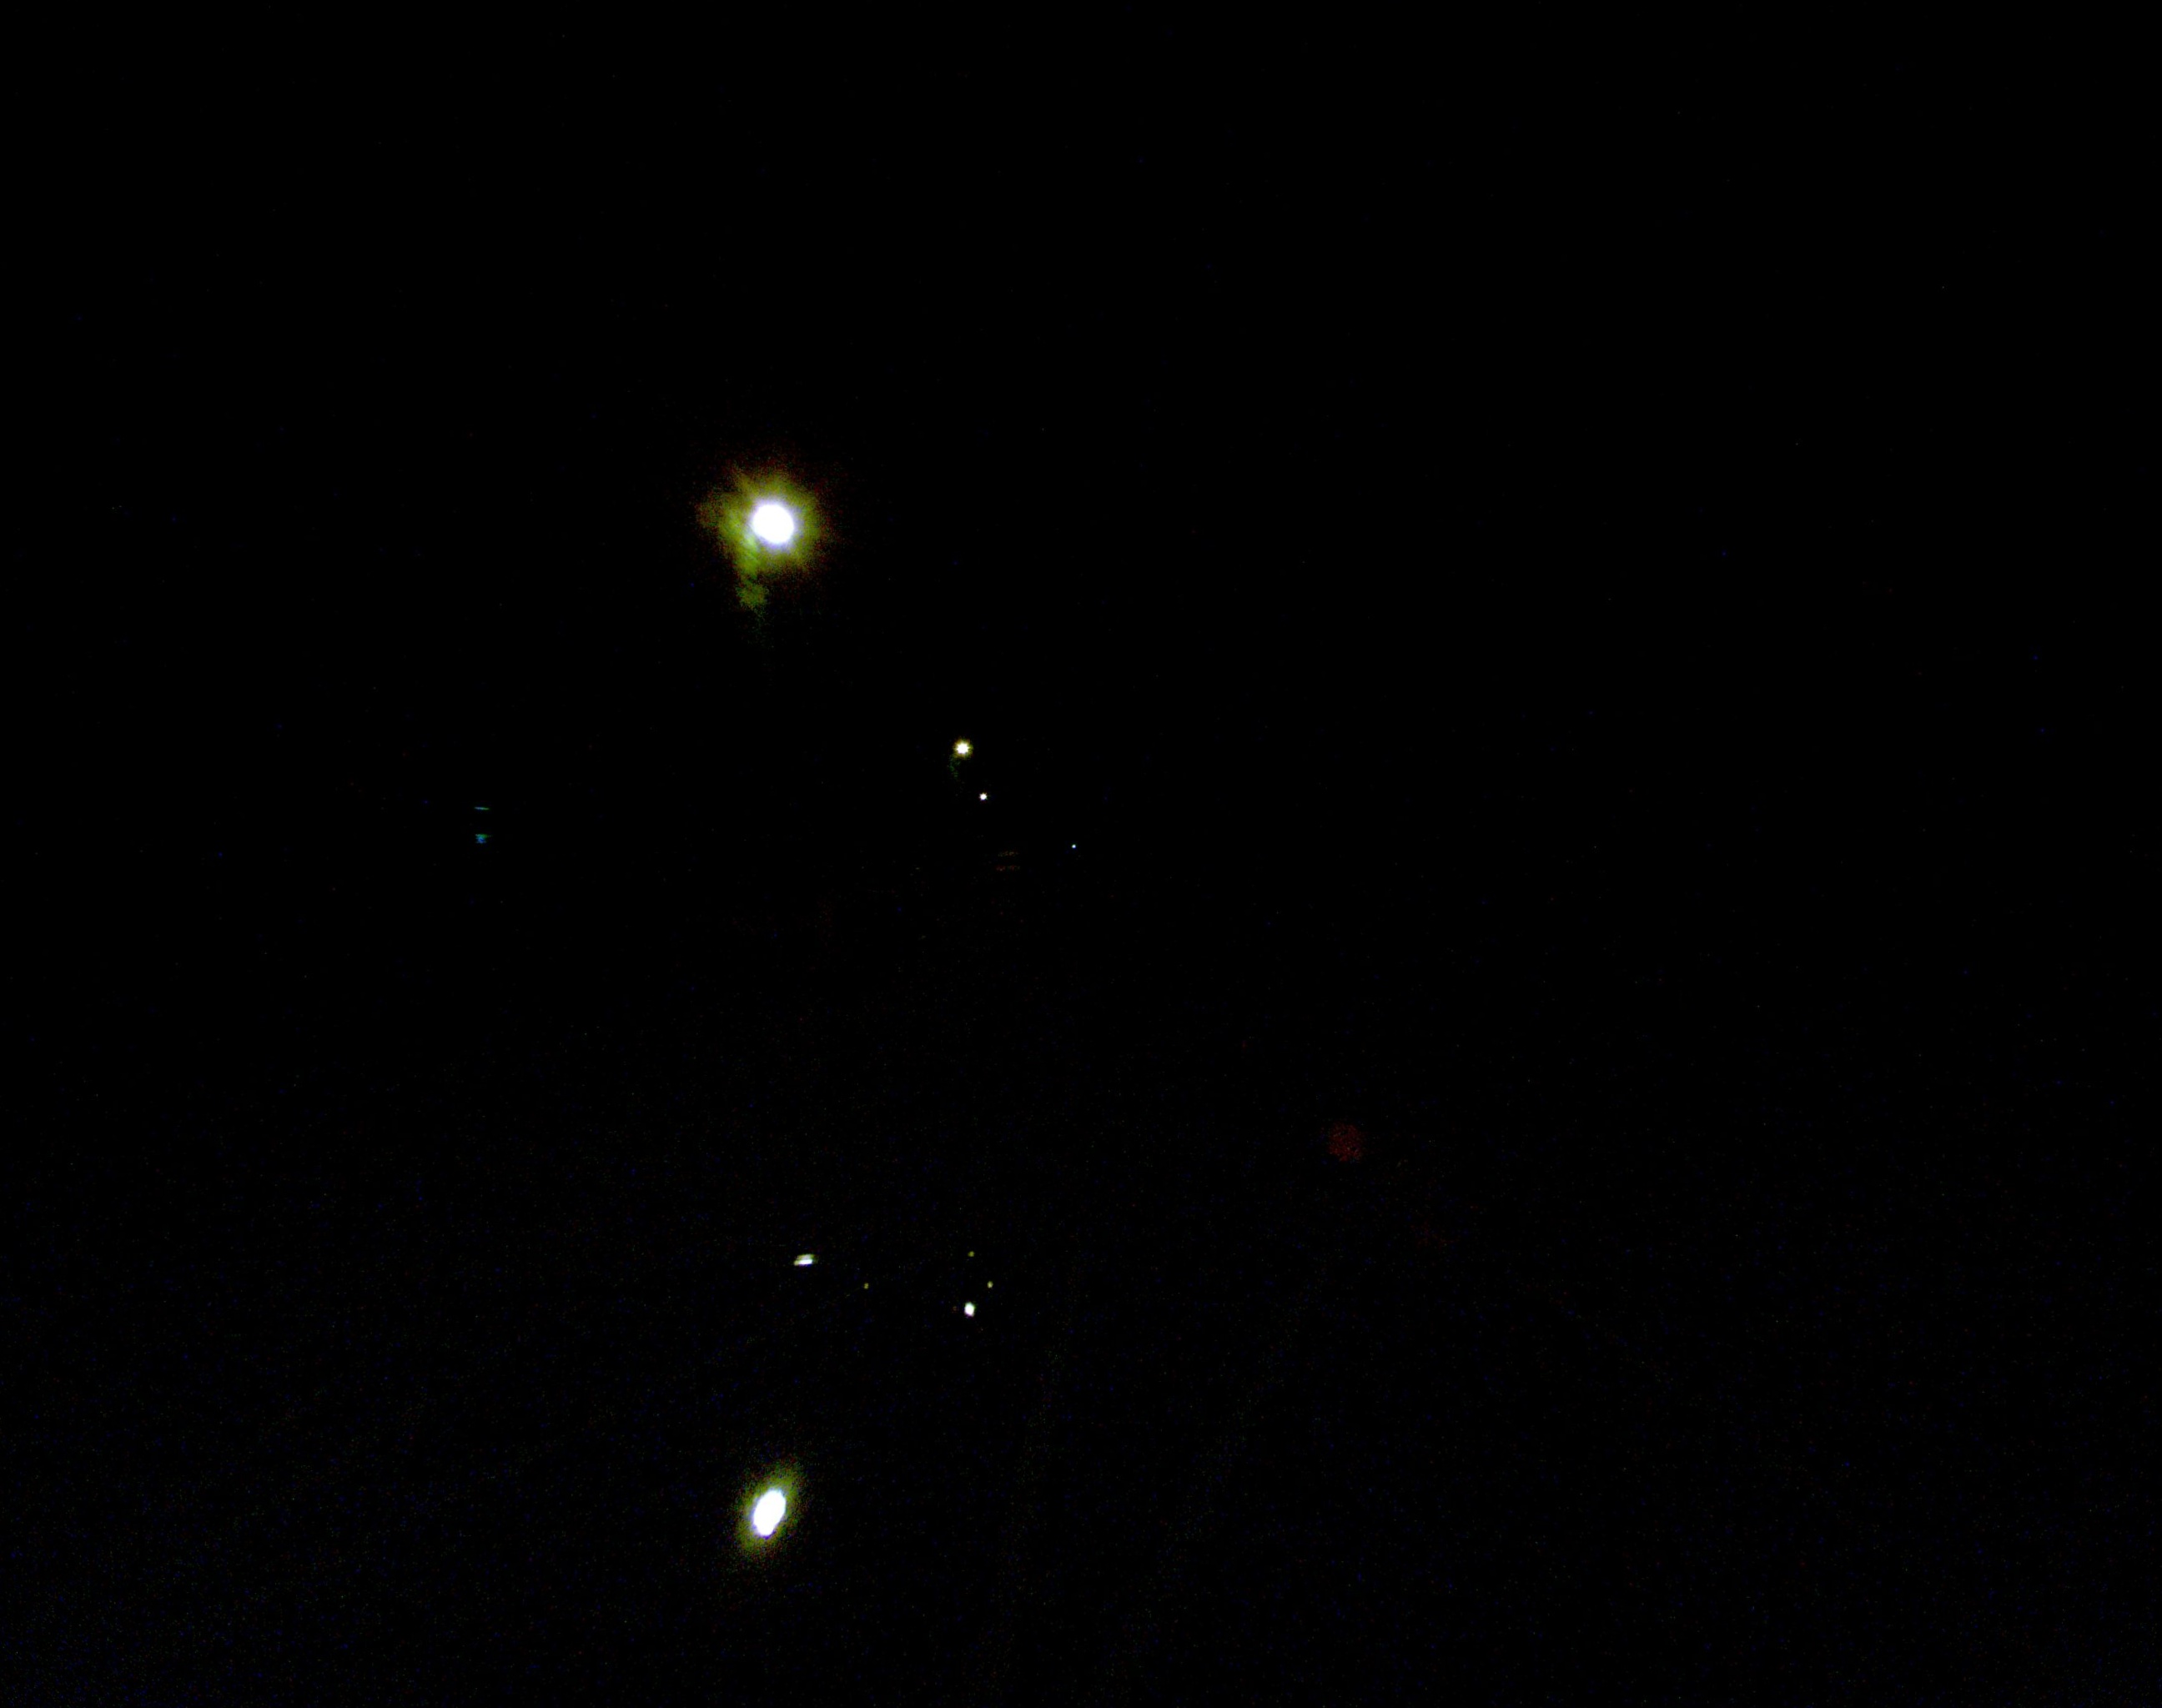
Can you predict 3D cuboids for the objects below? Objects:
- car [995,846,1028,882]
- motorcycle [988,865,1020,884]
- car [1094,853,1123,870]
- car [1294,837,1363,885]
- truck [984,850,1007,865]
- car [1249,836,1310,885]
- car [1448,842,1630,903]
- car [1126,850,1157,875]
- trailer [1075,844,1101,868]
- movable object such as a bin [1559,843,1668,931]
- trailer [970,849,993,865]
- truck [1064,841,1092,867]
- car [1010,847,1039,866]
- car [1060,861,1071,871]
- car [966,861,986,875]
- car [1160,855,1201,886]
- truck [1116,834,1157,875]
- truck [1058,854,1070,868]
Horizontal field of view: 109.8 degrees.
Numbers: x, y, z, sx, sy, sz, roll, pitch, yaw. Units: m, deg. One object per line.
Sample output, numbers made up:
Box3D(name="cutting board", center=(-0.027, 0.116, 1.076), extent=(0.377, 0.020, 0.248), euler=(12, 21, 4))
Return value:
Box3D(name="car", center=(-5.153, 0.720, 57.336), extent=(2.026, 2.512, 6.050), euler=(-3, 0, -2))
Box3D(name="motorcycle", center=(-5.383, 1.431, 53.056), extent=(2.180, 1.177, 0.770), euler=(-3, 1, 30))
Box3D(name="car", center=(2.903, 0.825, 81.995), extent=(2.000, 1.761, 4.687), euler=(-2, 0, -11))
Box3D(name="car", center=(12.656, 0.342, 39.151), extent=(2.212, 2.308, 4.625), euler=(-1, 0, 3))
Box3D(name="truck", center=(-16.068, 0.703, 141.688), extent=(2.002, 2.767, 7.229), euler=(-1, 0, -25))
Box3D(name="car", center=(9.945, 0.297, 38.444), extent=(1.998, 2.308, 4.967), euler=(0, 0, 3))
Box3D(name="car", center=(12.688, 0.501, 21.232), extent=(3.997, 1.561, 1.817), euler=(-1, 0, -1))
Box3D(name="car", center=(4.653, 0.638, 59.016), extent=(1.834, 1.806, 4.837), euler=(-1, 0, -3))
Box3D(name="trailer", center=(0.836, 0.244, 93.325), extent=(2.212, 2.779, 4.611), euler=(-2, 0, -12))
Box3D(name="movable object such as a bin", center=(9.501, 0.570, 13.614), extent=(1.167, 1.487, 1.065), euler=(-1, 0, -4))
Box3D(name="trailer", center=(-19.610, 0.672, 149.725), extent=(2.493, 3.054, 7.939), euler=(-1, 0, -22))
Box3D(name="truck", center=(-0.459, 0.022, 99.863), extent=(2.381, 3.224, 7.225), euler=(-2, 0, -11))
Box3D(name="car", center=(-9.616, 0.469, 129.247), extent=(2.393, 3.224, 7.217), euler=(-2, 0, -25))
Box3D(name="car", center=(-2.858, 2.149, 137.218), extent=(1.862, 1.630, 3.999), euler=(-1, 0, -4))
Box3D(name="car", center=(-16.946, 2.275, 121.988), extent=(2.002, 2.002, 5.346), euler=(-3, 0, -20))
Box3D(name="car", center=(5.240, 0.844, 40.514), extent=(1.759, 1.517, 4.323), euler=(-2, 0, 3))
Box3D(name="truck", center=(4.704, 0.032, 65.789), extent=(2.550, 3.261, 7.310), euler=(-2, 0, -3))
Box3D(name="truck", center=(-3.297, 1.333, 147.472), extent=(2.138, 2.597, 7.098), euler=(-1, 0, -2))
